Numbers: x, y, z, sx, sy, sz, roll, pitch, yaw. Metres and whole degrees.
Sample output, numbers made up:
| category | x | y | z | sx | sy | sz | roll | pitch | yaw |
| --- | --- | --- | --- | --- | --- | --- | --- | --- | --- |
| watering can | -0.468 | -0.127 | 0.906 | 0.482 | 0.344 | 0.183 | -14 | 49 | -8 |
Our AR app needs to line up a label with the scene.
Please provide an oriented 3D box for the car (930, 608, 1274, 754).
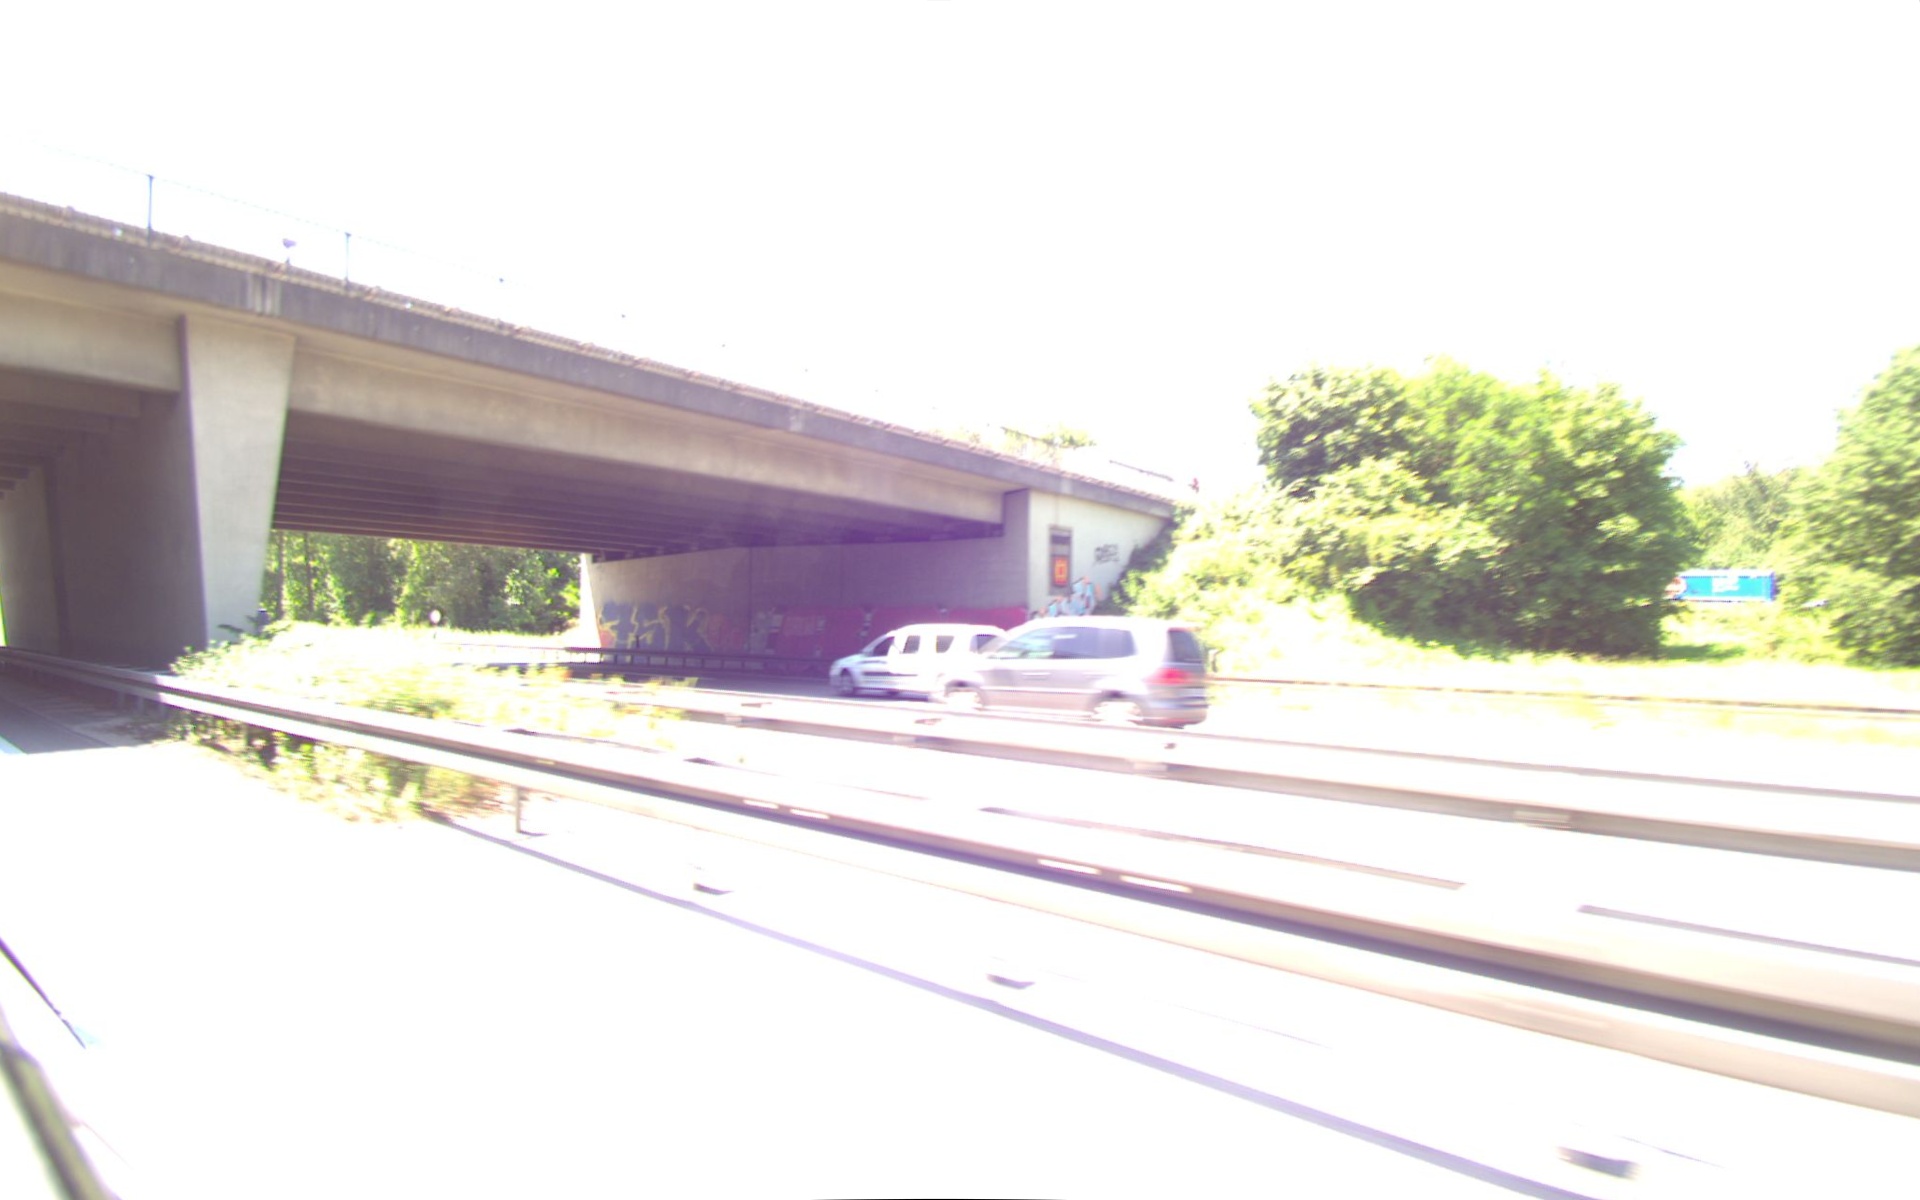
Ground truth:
| category | x | y | z | sx | sy | sz | roll | pitch | yaw |
| --- | --- | --- | --- | --- | --- | --- | --- | --- | --- |
| car | 1.864 | 1.025 | 14.289 | 4.637 | 1.732 | 1.722 | -1 | -3 | 41 |

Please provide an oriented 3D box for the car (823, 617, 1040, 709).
| category | x | y | z | sx | sy | sz | roll | pitch | yaw |
| --- | --- | --- | --- | --- | --- | --- | --- | --- | --- |
| car | -0.733 | 1.310 | 22.300 | 4.932 | 1.819 | 1.722 | -1 | -3 | 41 |

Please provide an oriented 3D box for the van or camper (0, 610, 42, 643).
| category | x | y | z | sx | sy | sz | roll | pitch | yaw |
| --- | --- | --- | --- | --- | --- | --- | --- | --- | --- |
| van or camper | -89.388 | 2.474 | 96.006 | 7.231 | 2.928 | 2.565 | -1 | 0 | 41 |

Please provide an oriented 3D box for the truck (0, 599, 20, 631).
| category | x | y | z | sx | sy | sz | roll | pitch | yaw |
| --- | --- | --- | --- | --- | --- | --- | --- | --- | --- |
| truck | -134.622 | 2.136 | 141.424 | 13.952 | 4.284 | 3.034 | -1 | -4 | 41 |
